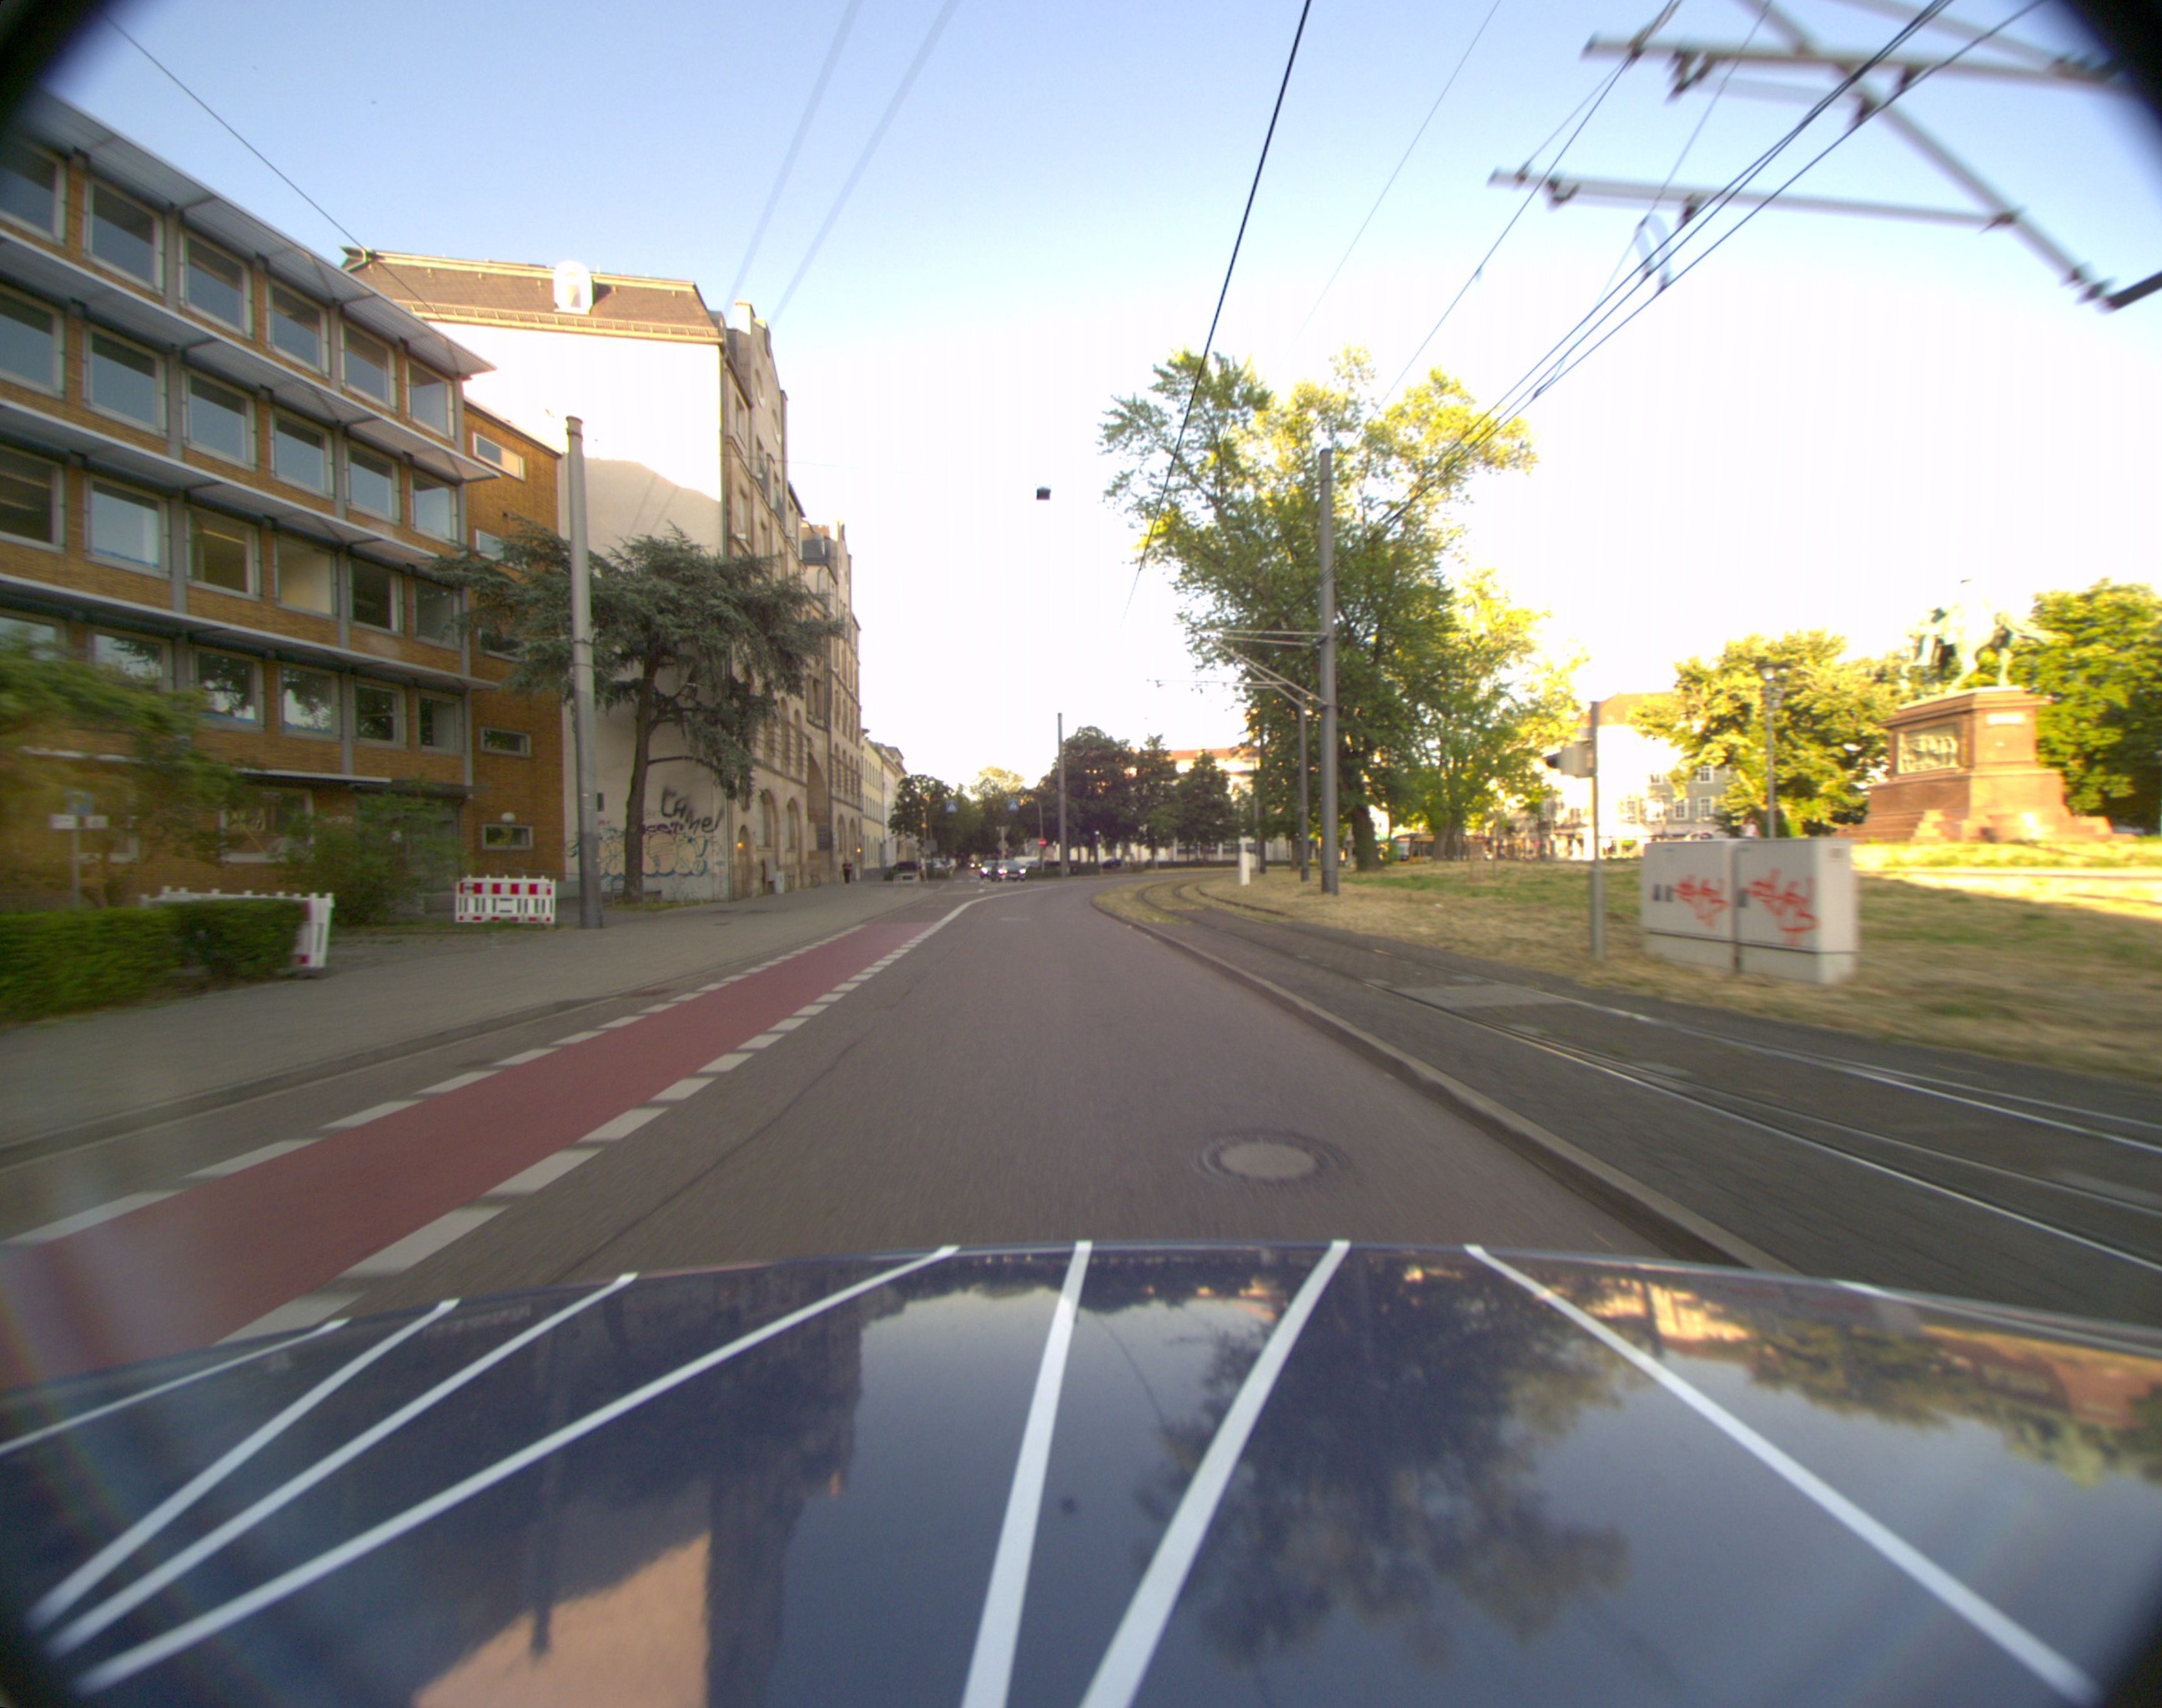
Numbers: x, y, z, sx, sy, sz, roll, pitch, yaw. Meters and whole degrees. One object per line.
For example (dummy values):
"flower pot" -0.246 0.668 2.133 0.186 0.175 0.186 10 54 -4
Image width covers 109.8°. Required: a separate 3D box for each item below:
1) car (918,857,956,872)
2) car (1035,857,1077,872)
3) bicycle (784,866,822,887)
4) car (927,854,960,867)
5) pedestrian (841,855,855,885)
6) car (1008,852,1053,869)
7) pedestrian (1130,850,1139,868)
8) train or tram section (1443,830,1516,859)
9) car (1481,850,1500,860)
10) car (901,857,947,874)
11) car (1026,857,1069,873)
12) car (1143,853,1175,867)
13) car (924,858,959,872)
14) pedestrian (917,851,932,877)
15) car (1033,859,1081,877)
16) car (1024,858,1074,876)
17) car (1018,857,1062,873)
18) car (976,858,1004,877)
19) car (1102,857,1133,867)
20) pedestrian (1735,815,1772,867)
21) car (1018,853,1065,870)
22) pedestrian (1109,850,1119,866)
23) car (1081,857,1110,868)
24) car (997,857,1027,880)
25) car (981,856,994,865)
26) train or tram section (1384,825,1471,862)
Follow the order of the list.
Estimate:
"car" -15.893 1.172 84.111 4.068 1.542 1.999 0 -1 -9
"car" -2.616 1.128 79.496 4.063 1.542 2.001 -1 -1 7
"bicycle" -14.958 1.209 40.901 1.856 1.066 0.429 0 -1 -9
"car" -18.637 0.878 103.022 4.399 1.603 1.728 0 -1 -9
"pedestrian" -13.310 0.910 43.380 0.577 1.699 0.721 0 -1 -4
"car" -6.158 0.780 92.968 5.072 2.010 1.970 -1 -1 15
"pedestrian" 5.084 0.489 72.678 0.769 1.705 0.786 -1 -1 0
"train or tram section" 45.713 -1.154 86.854 12.881 3.123 2.924 -2 1 -41
"car" 66.446 0.140 123.340 1.721 1.542 3.972 -1 -1 14
"car" -14.567 1.079 70.690 4.067 1.560 1.837 0 -1 -6
"car" -3.401 1.098 77.030 4.063 1.608 2.001 -1 -1 7
"car" 10.206 0.754 98.978 4.006 1.714 1.703 -1 -1 12
"car" -16.527 1.285 90.208 4.068 1.542 1.999 0 -1 -9
"pedestrian" -10.597 0.684 51.412 0.591 1.781 0.823 -1 -1 25
"car" -2.124 1.268 68.064 4.063 1.547 1.867 -1 -1 7
"car" -2.751 1.148 66.113 4.063 1.547 1.867 -1 -1 7
"car" -3.980 1.083 74.116 4.063 1.542 2.001 -1 -1 7
"car" -7.358 1.128 61.787 1.820 1.473 4.135 0 -1 -2
"car" 4.795 1.057 100.142 3.777 1.328 1.730 -1 -1 12
"pedestrian" 21.948 -0.416 24.818 0.476 1.680 0.836 -1 0 0
"car" -4.597 0.877 89.283 5.072 1.891 2.124 -1 -1 15
"pedestrian" 4.113 0.465 94.535 0.827 2.001 1.011 -1 -1 43
"car" 2.039 1.171 106.290 3.670 1.440 1.703 -1 -1 14
"car" -4.737 0.979 51.604 1.821 1.473 4.133 0 -1 -8
"car" -16.710 1.203 135.639 1.820 1.473 4.136 -1 -1 0
"train or tram section" 35.951 -1.134 78.425 13.393 3.563 2.942 -2 1 -42
